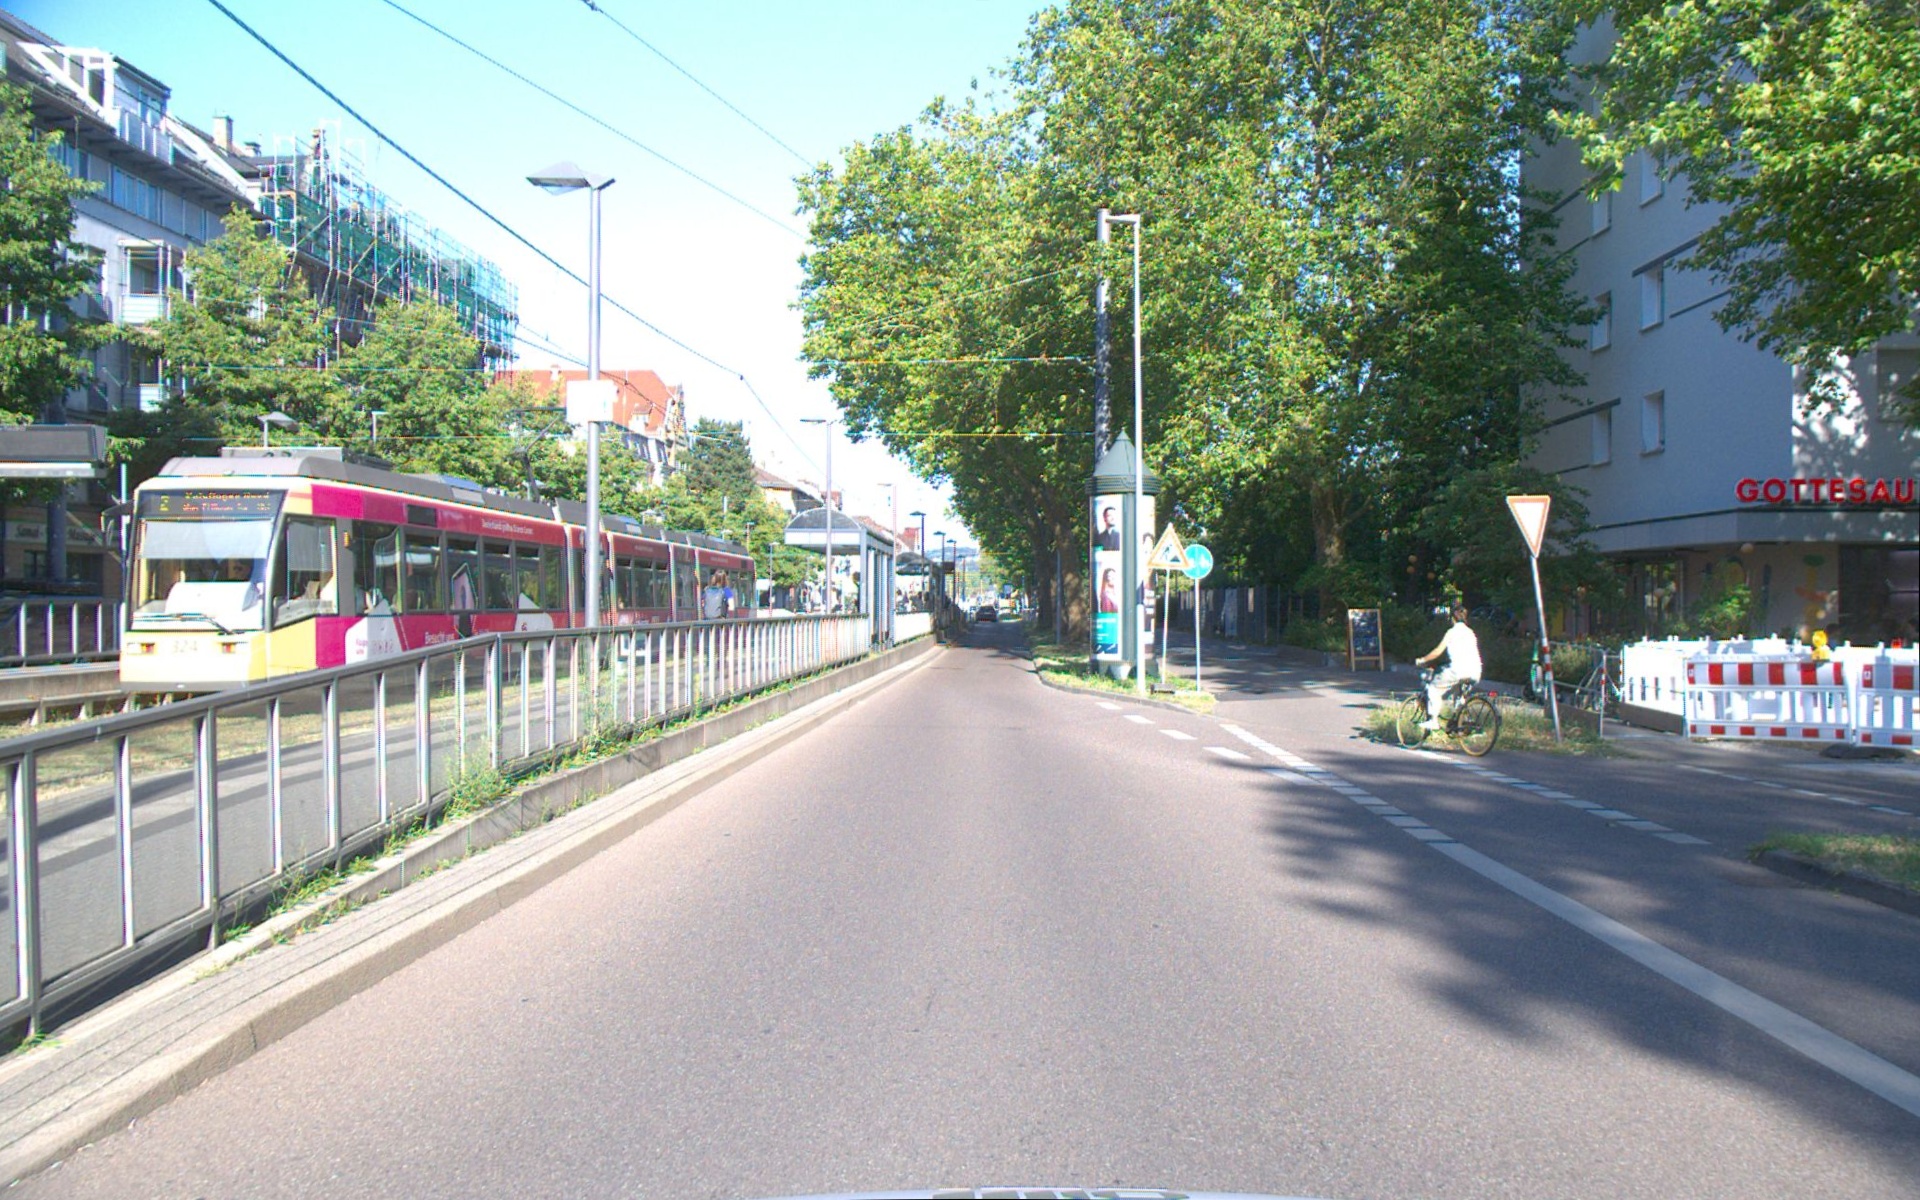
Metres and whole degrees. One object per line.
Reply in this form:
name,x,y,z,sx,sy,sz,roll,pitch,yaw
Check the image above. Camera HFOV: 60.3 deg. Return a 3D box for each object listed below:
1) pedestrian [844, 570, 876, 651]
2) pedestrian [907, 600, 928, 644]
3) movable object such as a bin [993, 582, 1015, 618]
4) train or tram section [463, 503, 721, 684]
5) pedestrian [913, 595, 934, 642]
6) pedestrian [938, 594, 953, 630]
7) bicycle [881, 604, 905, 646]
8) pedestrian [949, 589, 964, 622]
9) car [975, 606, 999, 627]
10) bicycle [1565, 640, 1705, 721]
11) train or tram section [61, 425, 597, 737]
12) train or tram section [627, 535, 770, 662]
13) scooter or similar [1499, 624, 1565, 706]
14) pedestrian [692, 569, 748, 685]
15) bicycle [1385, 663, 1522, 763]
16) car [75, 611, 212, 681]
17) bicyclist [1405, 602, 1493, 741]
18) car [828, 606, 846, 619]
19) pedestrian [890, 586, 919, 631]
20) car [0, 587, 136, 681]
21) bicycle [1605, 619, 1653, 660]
pedestrian,-2.430,0.258,40.261,0.655,1.935,0.824,2,-1,1
pedestrian,-1.561,0.799,60.368,0.664,1.589,0.851,2,-1,1
movable object such as a bin,6.575,0.019,248.348,3.024,5.177,8.892,-3,0,1
train or tram section,-8.713,-0.083,41.676,2.810,3.750,14.563,0,0,2
pedestrian,-1.404,0.719,63.762,0.749,1.789,0.695,2,-1,1
pedestrian,-0.712,0.578,81.023,0.665,1.720,0.895,2,-1,2
bicycle,-1.889,0.710,47.108,0.502,1.153,2.104,2,0,1
pedestrian,-0.191,0.277,88.401,0.741,1.720,0.678,2,-1,2
car,2.388,1.422,144.299,1.952,1.713,4.001,2,0,2
bicycle,9.773,1.141,24.016,0.597,1.044,1.933,0,1,-30
train or tram section,-9.177,-0.180,27.147,2.810,3.740,14.563,0,0,2
train or tram section,-8.305,-0.002,53.775,2.810,3.750,9.686,0,0,2
scooter or similar,9.219,1.040,26.698,0.549,1.279,1.289,-1,-1,-2
pedestrian,-3.496,0.394,24.156,0.616,1.638,0.982,2,-1,0
bicycle,5.737,1.291,19.320,0.594,1.044,1.755,0,0,-21
car,-22.364,1.225,45.472,1.769,1.759,3.785,2,0,1
bicyclist,5.719,0.815,19.364,0.594,1.578,0.854,0,-1,-22
car,-17.433,1.762,234.806,1.974,1.784,4.559,2,1,1
pedestrian,-2.224,0.328,66.062,0.899,1.752,0.625,2,-1,-32
car,-22.506,0.814,41.208,1.900,2.204,3.785,2,0,1
bicycle,20.872,1.223,51.631,0.772,1.198,1.820,2,0,1
